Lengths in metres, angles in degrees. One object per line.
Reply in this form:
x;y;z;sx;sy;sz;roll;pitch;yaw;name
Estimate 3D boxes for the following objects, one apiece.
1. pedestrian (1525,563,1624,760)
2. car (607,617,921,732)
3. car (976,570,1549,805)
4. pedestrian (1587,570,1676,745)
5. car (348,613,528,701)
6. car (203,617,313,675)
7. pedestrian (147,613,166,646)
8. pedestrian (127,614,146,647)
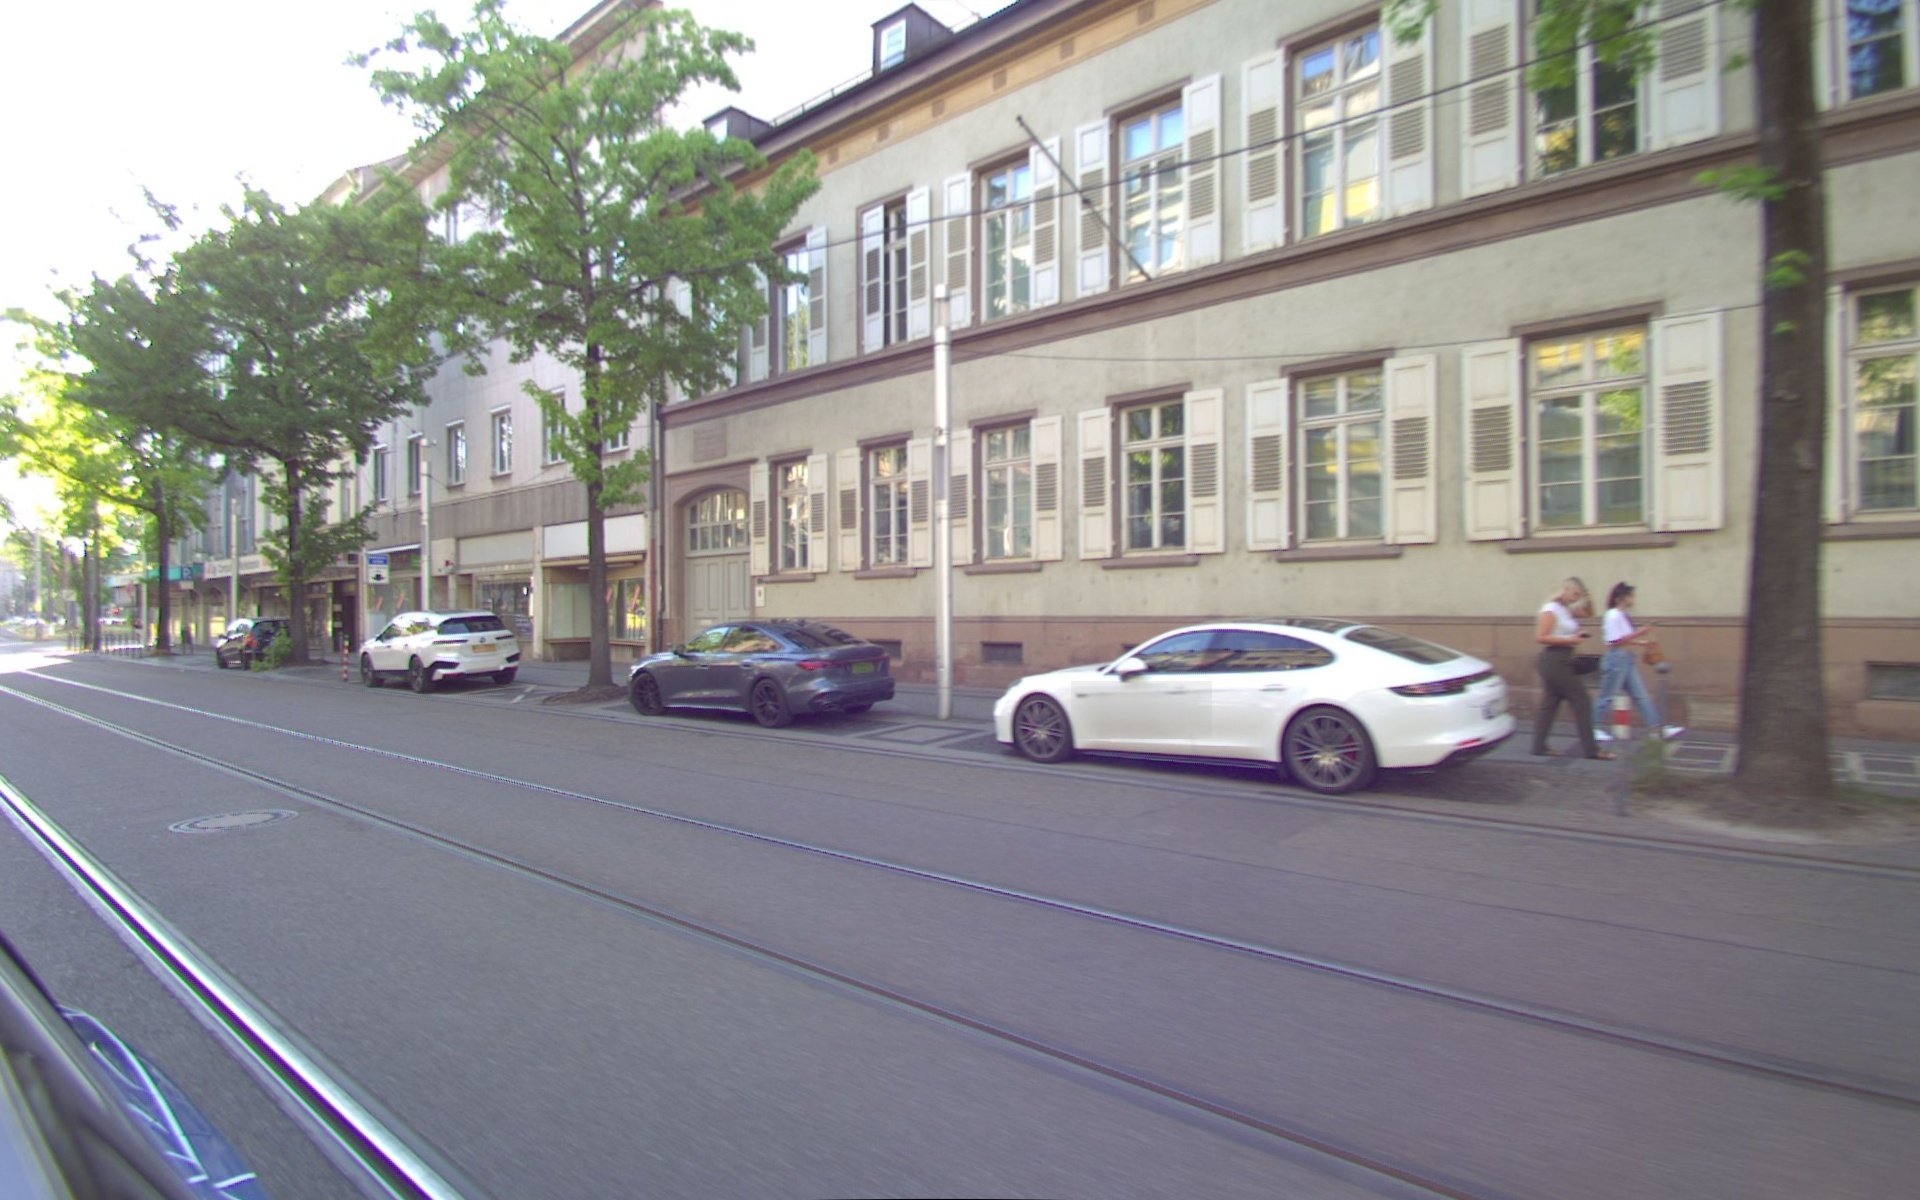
5.702;0.550;9.390;0.656;1.734;0.679;-1;-1;41;pedestrian
-3.035;0.984;15.084;4.841;1.423;1.943;-1;0;39;car
2.658;0.653;9.753;4.908;1.652;1.926;-1;2;42;car
6.820;0.565;10.282;0.647;1.692;0.667;-1;-1;41;pedestrian
-11.697;1.177;22.524;4.811;1.652;1.941;-1;2;42;car
-22.533;1.421;32.447;3.998;1.652;1.942;-1;2;41;car
-49.817;1.831;62.744;0.734;2.029;0.788;-1;0;42;pedestrian
-50.927;1.881;62.579;0.734;2.029;0.788;-1;0;42;pedestrian
